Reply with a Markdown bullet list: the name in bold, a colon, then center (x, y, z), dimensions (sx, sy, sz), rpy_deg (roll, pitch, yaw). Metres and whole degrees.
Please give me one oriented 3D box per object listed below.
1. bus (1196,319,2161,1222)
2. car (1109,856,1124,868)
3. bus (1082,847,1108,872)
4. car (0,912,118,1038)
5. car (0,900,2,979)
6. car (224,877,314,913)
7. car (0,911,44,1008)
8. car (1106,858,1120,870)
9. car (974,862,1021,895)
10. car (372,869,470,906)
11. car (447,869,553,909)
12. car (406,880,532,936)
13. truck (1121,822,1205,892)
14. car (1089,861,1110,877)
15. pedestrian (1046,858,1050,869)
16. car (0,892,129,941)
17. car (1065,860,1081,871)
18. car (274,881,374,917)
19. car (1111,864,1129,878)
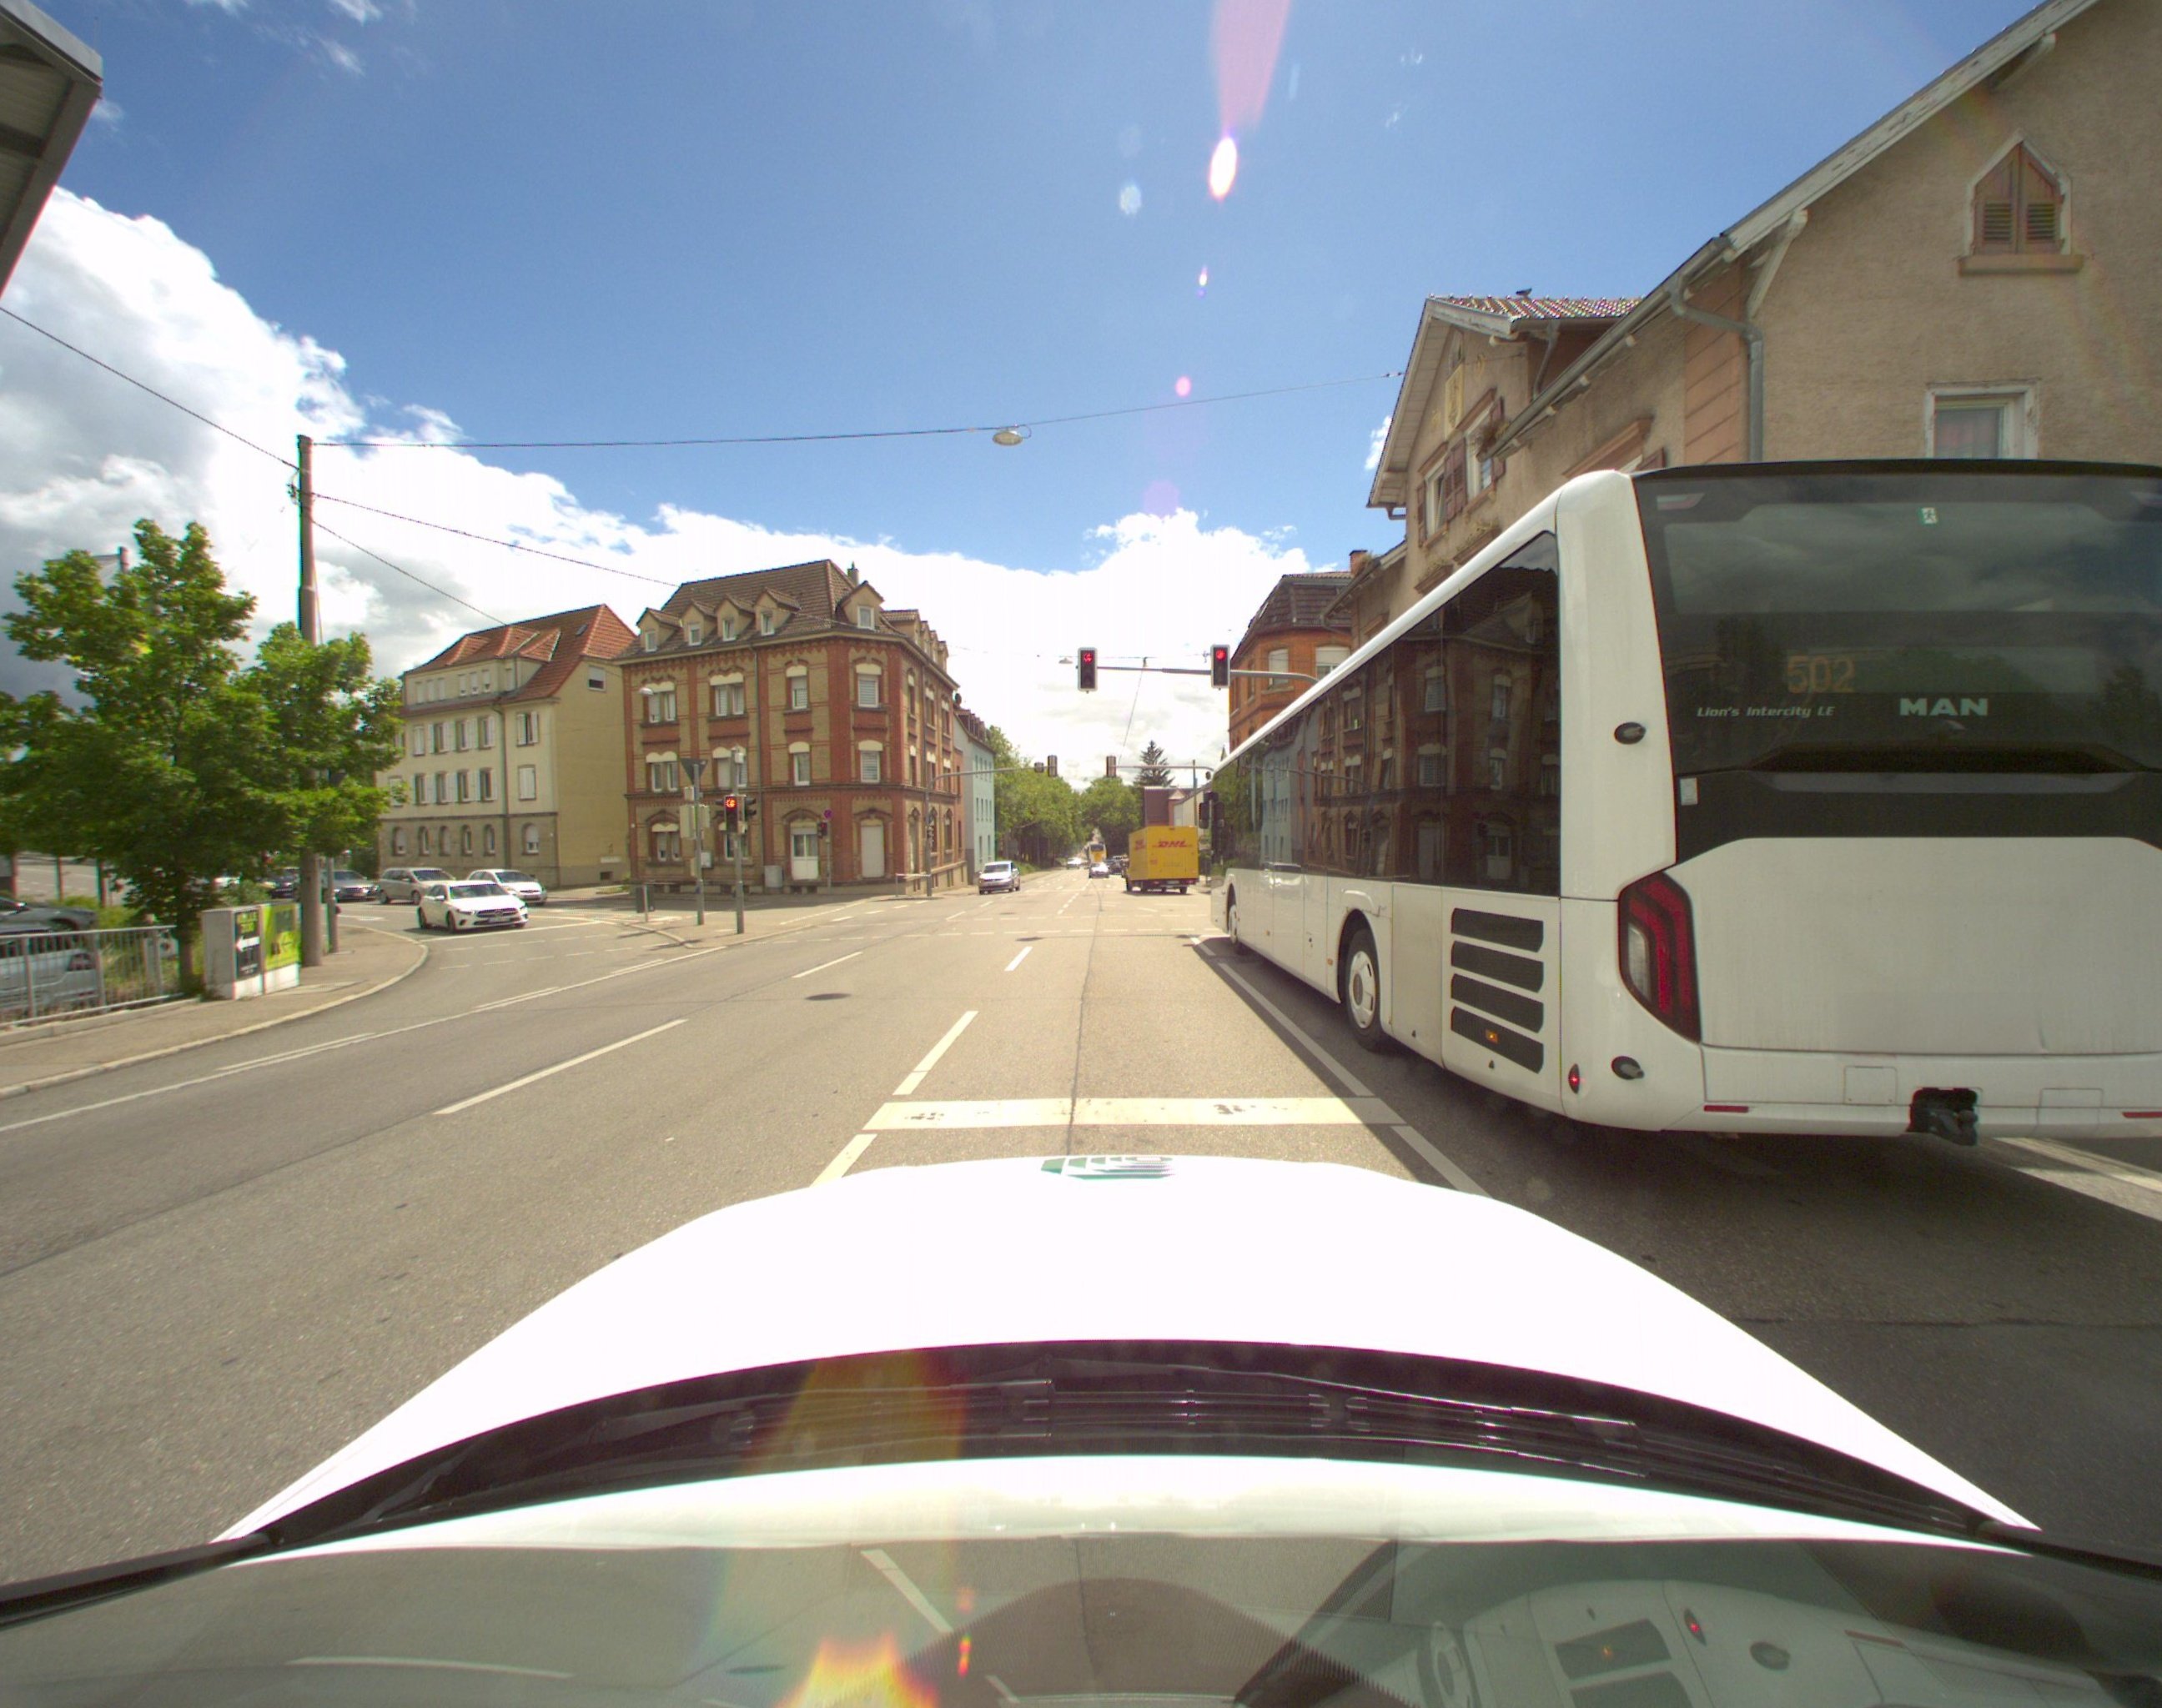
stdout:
- **bus**: center (3.482, -0.282, 9.418), dimensions (2.893, 3.510, 12.492), rpy_deg (0, -1, 2)
- **car**: center (5.616, 1.269, 129.479), dimensions (2.086, 1.830, 4.140), rpy_deg (-1, 0, -1)
- **bus**: center (2.106, 0.791, 125.281), dimensions (3.292, 3.631, 11.233), rpy_deg (-2, 0, -2)
- **car**: center (-16.111, 1.739, 12.181), dimensions (3.638, 1.575, 1.766), rpy_deg (-1, -2, 34)
- **car**: center (-23.398, 1.735, 16.430), dimensions (3.371, 1.575, 1.526), rpy_deg (-1, 0, 30)
- **car**: center (-40.274, 1.995, 40.399), dimensions (4.291, 1.586, 2.012), rpy_deg (-1, 0, 29)
- **car**: center (-19.706, 1.831, 14.150), dimensions (3.744, 1.523, 1.526), rpy_deg (-1, 0, 30)
- **car**: center (3.827, 1.146, 98.029), dimensions (1.603, 1.376, 4.002), rpy_deg (-2, 0, 2)
- **car**: center (-4.455, 1.278, 43.996), dimensions (1.928, 1.563, 4.390), rpy_deg (-2, 0, 2)
- **car**: center (-29.203, 1.471, 36.046), dimensions (3.951, 1.519, 1.757), rpy_deg (-1, 0, 24)
- **car**: center (-23.595, 1.393, 33.059), dimensions (3.951, 1.497, 1.711), rpy_deg (-1, 0, 24)
- **car**: center (-18.240, 1.541, 24.214), dimensions (4.334, 1.447, 1.875), rpy_deg (-2, 0, 37)
- **truck**: center (3.575, 0.153, 37.141), dimensions (2.538, 2.913, 6.558), rpy_deg (0, -1, -6)
- **car**: center (1.688, 1.339, 73.805), dimensions (1.858, 1.367, 4.549), rpy_deg (-2, 0, 2)
- **pedestrian**: center (-5.501, 1.643, 136.740), dimensions (0.604, 1.758, 0.653), rpy_deg (-2, 0, 0)
- **car**: center (-29.248, 1.730, 22.212), dimensions (1.795, 1.186, 4.025), rpy_deg (-1, 0, 31)
- **car**: center (-1.267, 1.778, 124.974), dimensions (2.199, 1.613, 4.549), rpy_deg (-2, 0, 2)
- **car**: center (-35.447, 2.080, 38.138), dimensions (3.951, 1.519, 2.011), rpy_deg (-1, 0, 24)
- **car**: center (4.214, 1.808, 87.781), dimensions (1.858, 1.367, 4.549), rpy_deg (-2, 0, 2)
